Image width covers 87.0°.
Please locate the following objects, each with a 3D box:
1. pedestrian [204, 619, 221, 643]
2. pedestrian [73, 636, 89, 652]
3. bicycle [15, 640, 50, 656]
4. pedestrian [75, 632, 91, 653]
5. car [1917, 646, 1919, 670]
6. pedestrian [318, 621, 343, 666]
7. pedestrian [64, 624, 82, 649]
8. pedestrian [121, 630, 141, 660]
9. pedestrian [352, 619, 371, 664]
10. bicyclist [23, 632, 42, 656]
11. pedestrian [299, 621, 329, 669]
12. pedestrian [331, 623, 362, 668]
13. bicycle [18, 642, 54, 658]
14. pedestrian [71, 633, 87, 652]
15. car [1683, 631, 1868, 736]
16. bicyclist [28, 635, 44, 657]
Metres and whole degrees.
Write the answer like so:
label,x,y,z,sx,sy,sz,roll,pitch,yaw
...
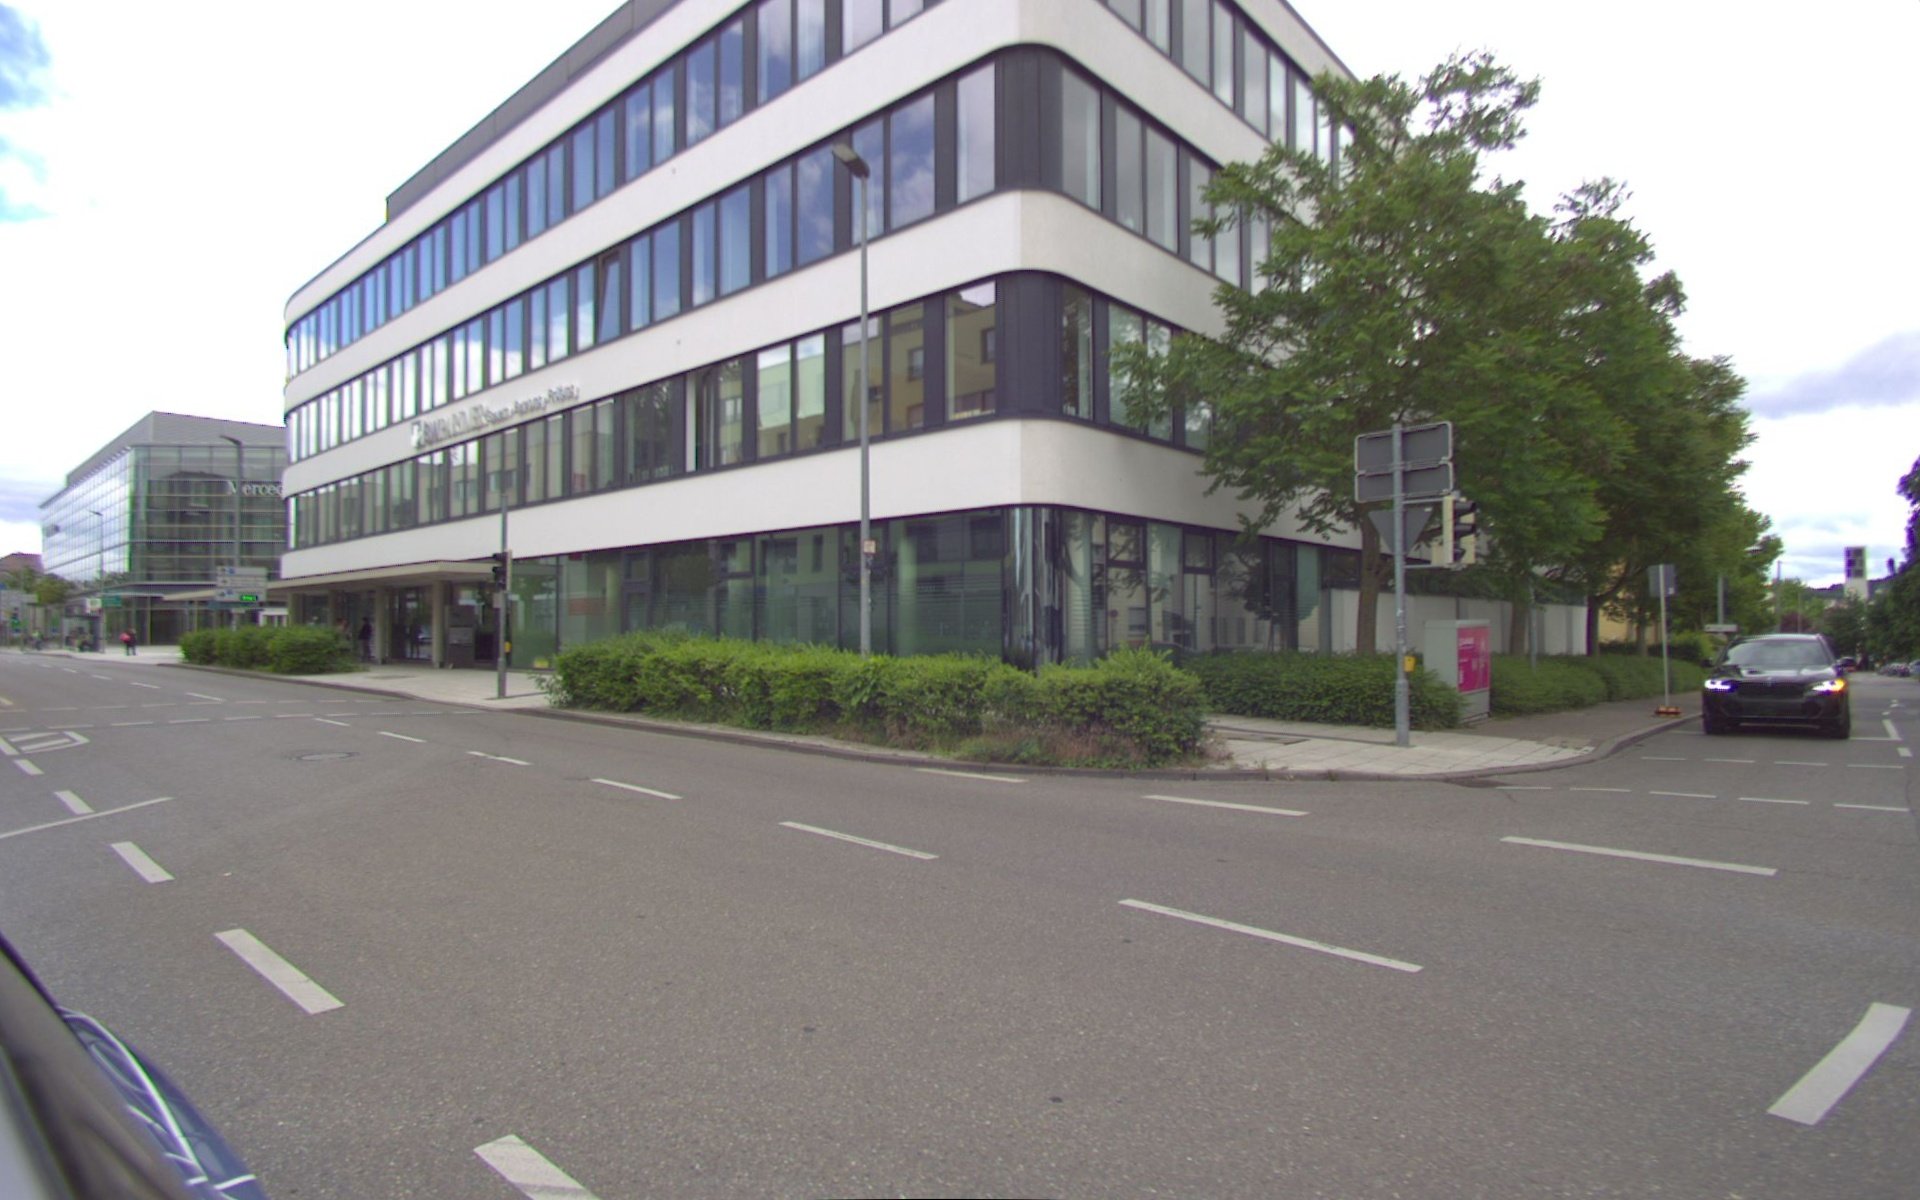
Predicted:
label,x,y,z,sx,sy,sz,roll,pitch,yaw
pedestrian,-60.593,2.494,82.047,0.740,1.960,0.901,-1,-1,3
pedestrian,-57.631,2.883,66.373,0.576,1.084,0.677,-2,-4,41
bicycle,-74.414,3.854,81.179,2.000,1.215,0.748,-2,0,-4
pedestrian,-57.136,2.756,65.925,0.576,1.330,0.677,-2,-4,41
car,60.218,3.553,61.873,1.909,1.544,3.950,-2,-4,36
pedestrian,-24.463,1.692,39.331,0.501,1.723,0.613,-1,-2,12
pedestrian,-58.735,2.434,67.007,0.568,1.644,0.686,0,-2,1
pedestrian,-45.719,2.474,55.801,0.820,1.579,0.814,-1,-1,-43
pedestrian,-23.342,1.621,39.472,0.497,1.743,0.617,0,-2,-17
bicyclist,-74.426,3.535,81.181,0.762,1.813,0.748,-2,0,-4
pedestrian,-23.540,1.639,36.886,0.931,1.686,0.722,-2,-1,44
pedestrian,-22.481,1.661,37.079,0.931,1.625,0.722,-2,-1,44
bicycle,-72.320,3.914,79.186,1.973,1.139,0.640,-2,0,-33
pedestrian,-58.111,2.802,66.737,0.576,1.263,0.677,-2,-3,41
car,13.670,1.387,17.219,1.906,1.544,3.956,-3,-5,32
bicyclist,-72.296,3.628,79.193,0.771,1.661,0.640,-2,0,-33
